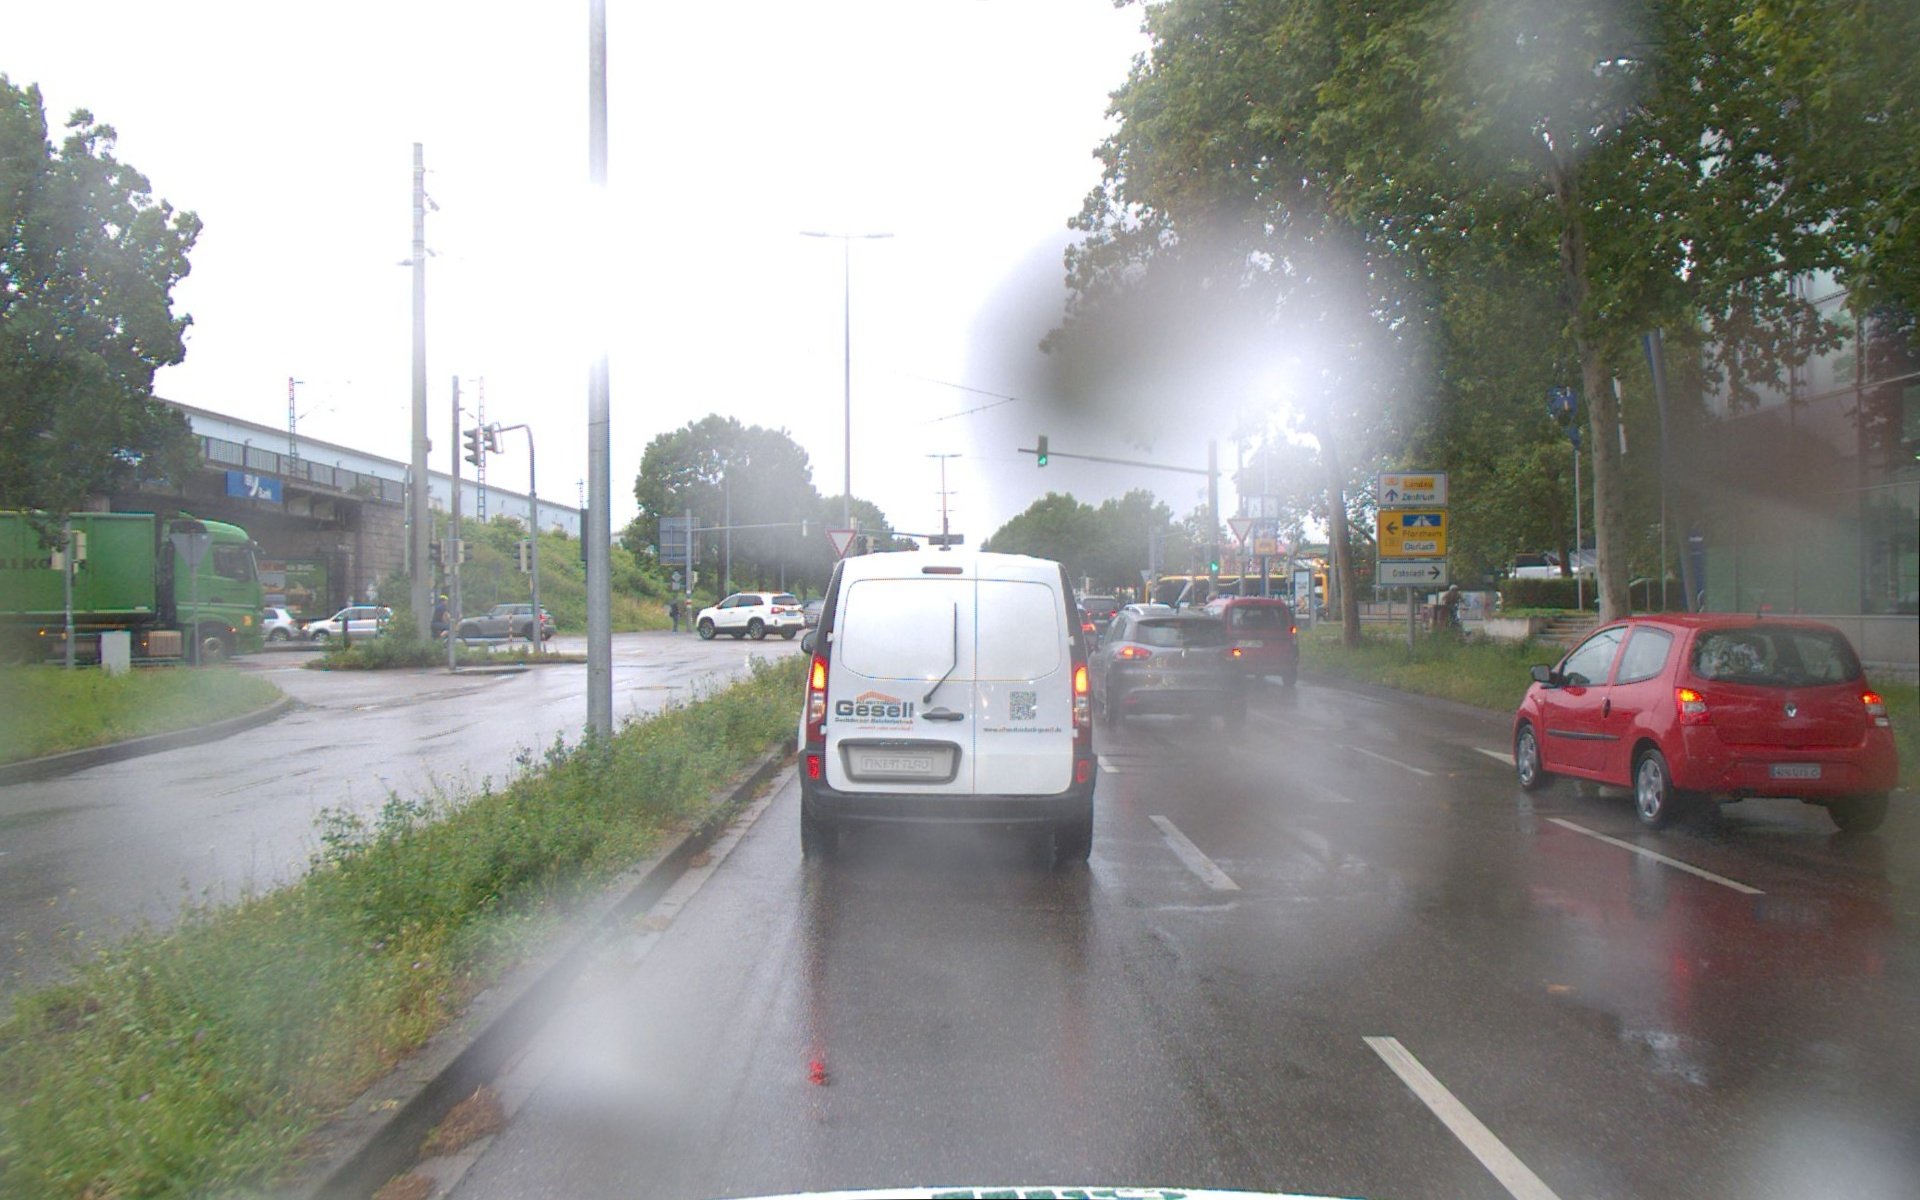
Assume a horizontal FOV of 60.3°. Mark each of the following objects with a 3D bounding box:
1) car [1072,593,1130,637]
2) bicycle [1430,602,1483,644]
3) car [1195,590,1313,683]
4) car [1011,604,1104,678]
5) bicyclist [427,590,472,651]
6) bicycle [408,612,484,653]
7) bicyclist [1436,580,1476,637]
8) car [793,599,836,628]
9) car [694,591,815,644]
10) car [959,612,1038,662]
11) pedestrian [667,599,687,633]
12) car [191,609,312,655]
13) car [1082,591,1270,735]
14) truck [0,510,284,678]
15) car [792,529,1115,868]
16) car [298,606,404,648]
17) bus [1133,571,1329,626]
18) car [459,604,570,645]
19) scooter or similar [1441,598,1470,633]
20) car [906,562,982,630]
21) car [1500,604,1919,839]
[{"bbox_3d":[5.308,0.548,62.683,1.952,1.601,4.001,0,0,1],"label":"car"},{"bbox_3d":[13.894,0.625,46.301,0.728,1.123,2.076,-2,0,-3],"label":"bicycle"},{"bbox_3d":[5.643,0.671,32.078,1.599,1.684,3.484,1,0,-1],"label":"car"},{"bbox_3d":[2.346,0.957,40.621,1.799,1.684,3.997,1,0,-3],"label":"car"},{"bbox_3d":[-13.951,0.560,45.186,1.032,1.621,0.797,1,-1,-29],"label":"bicyclist"},{"bbox_3d":[-14.032,0.882,45.153,1.885,1.114,0.688,1,0,-28],"label":"bicycle"},{"bbox_3d":[13.877,0.248,46.316,0.789,1.541,0.751,-3,-1,-4],"label":"bicyclist"},{"bbox_3d":[-8.621,0.789,98.287,1.980,1.686,4.063,-1,0,2],"label":"car"},{"bbox_3d":[-7.731,0.653,62.009,4.354,1.878,1.992,-1,0,38],"label":"car"},{"bbox_3d":[1.312,1.273,58.070,1.958,1.647,3.933,-1,0,-11],"label":"car"},{"bbox_3d":[-14.711,0.802,85.922,0.983,1.749,0.818,0,0,-9],"label":"pedestrian"},{"bbox_3d":[-26.332,1.165,61.467,3.946,1.632,1.879,-1,0,-31],"label":"car"},{"bbox_3d":[2.661,0.737,21.208,1.805,1.646,3.999,1,0,-1],"label":"car"},{"bbox_3d":[-22.588,-0.143,41.540,10.089,4.018,2.652,-1,0,-38],"label":"truck"},{"bbox_3d":[-0.064,0.535,10.926,1.720,1.808,3.999,1,0,-1],"label":"car"},{"bbox_3d":[-24.701,1.087,67.116,3.794,1.600,1.848,-1,0,-30],"label":"car"},{"bbox_3d":[17.360,-0.084,106.347,12.001,3.325,3.274,-1,0,-2],"label":"bus"},{"bbox_3d":[-17.410,0.945,64.785,3.806,1.543,1.809,-1,0,0],"label":"car"},{"bbox_3d":[16.638,0.526,55.539,1.164,1.158,0.336,-1,0,-41],"label":"scooter or similar"},{"bbox_3d":[-0.547,-0.152,51.510,1.955,1.990,4.816,-1,1,-5],"label":"car"},{"bbox_3d":[5.554,0.803,12.609,1.644,1.517,3.620,0,0,-1],"label":"car"}]
